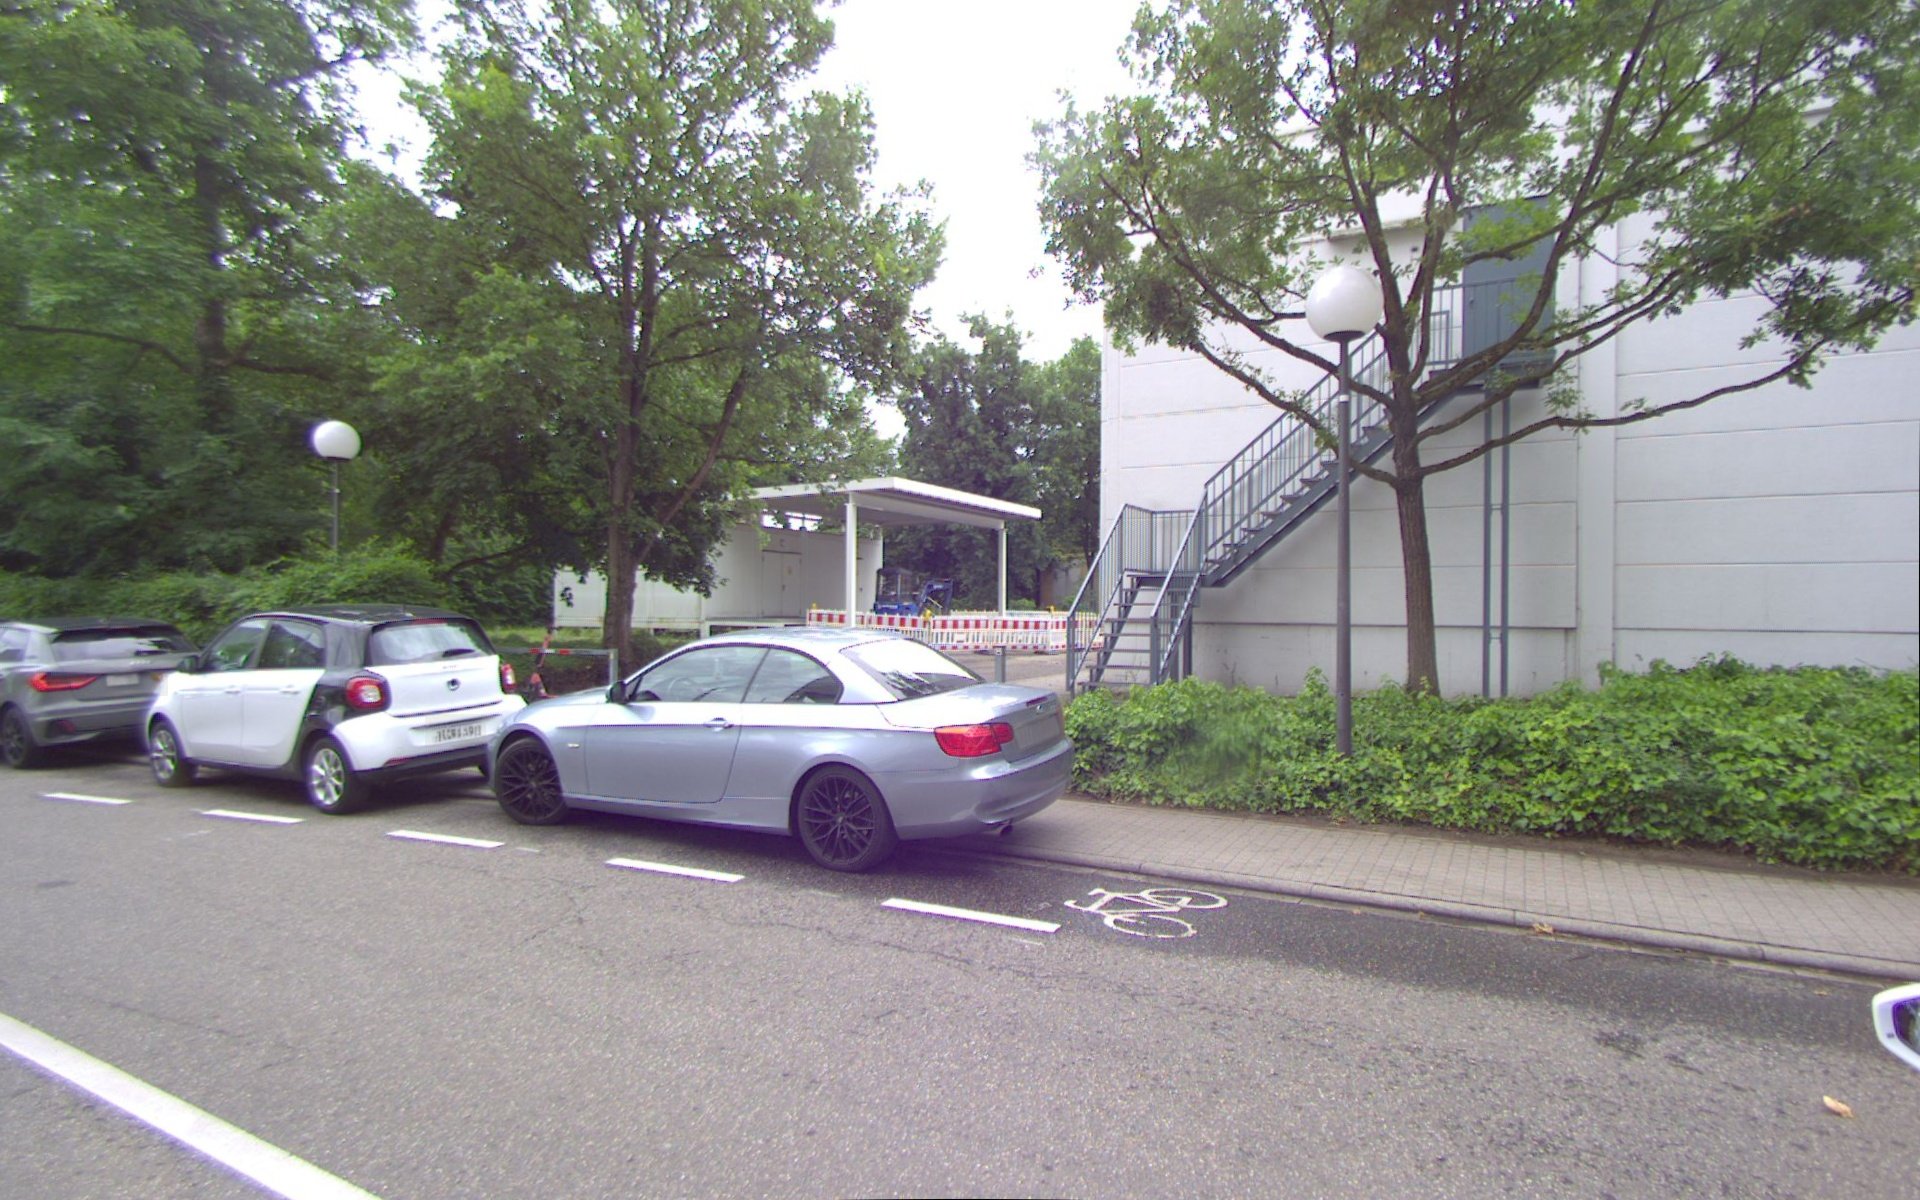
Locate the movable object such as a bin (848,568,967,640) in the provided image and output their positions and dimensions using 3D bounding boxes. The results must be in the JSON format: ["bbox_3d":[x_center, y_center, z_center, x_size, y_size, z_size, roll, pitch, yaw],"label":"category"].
[{"bbox_3d":[-1.639,0.183,33.393,1.962,2.200,4.666,0,-2,26],"label":"movable object such as a bin"}]

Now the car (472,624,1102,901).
[{"bbox_3d":[-1.251,0.908,7.088,4.116,1.407,1.821,0,0,27],"label":"car"}]

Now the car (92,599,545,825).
[{"bbox_3d":[-5.661,0.825,8.809,3.807,1.607,1.719,-1,0,28],"label":"car"}]

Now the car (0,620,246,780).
[{"bbox_3d":[-9.747,0.945,10.826,3.935,1.430,1.767,-1,-1,28],"label":"car"}]

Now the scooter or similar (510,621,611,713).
[{"bbox_3d":[-5.534,0.907,13.963,1.286,1.226,0.448,0,0,-21],"label":"scooter or similar"}]

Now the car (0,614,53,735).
[{"bbox_3d":[-13.721,0.917,13.034,3.755,1.491,1.765,0,-1,29],"label":"car"}]
